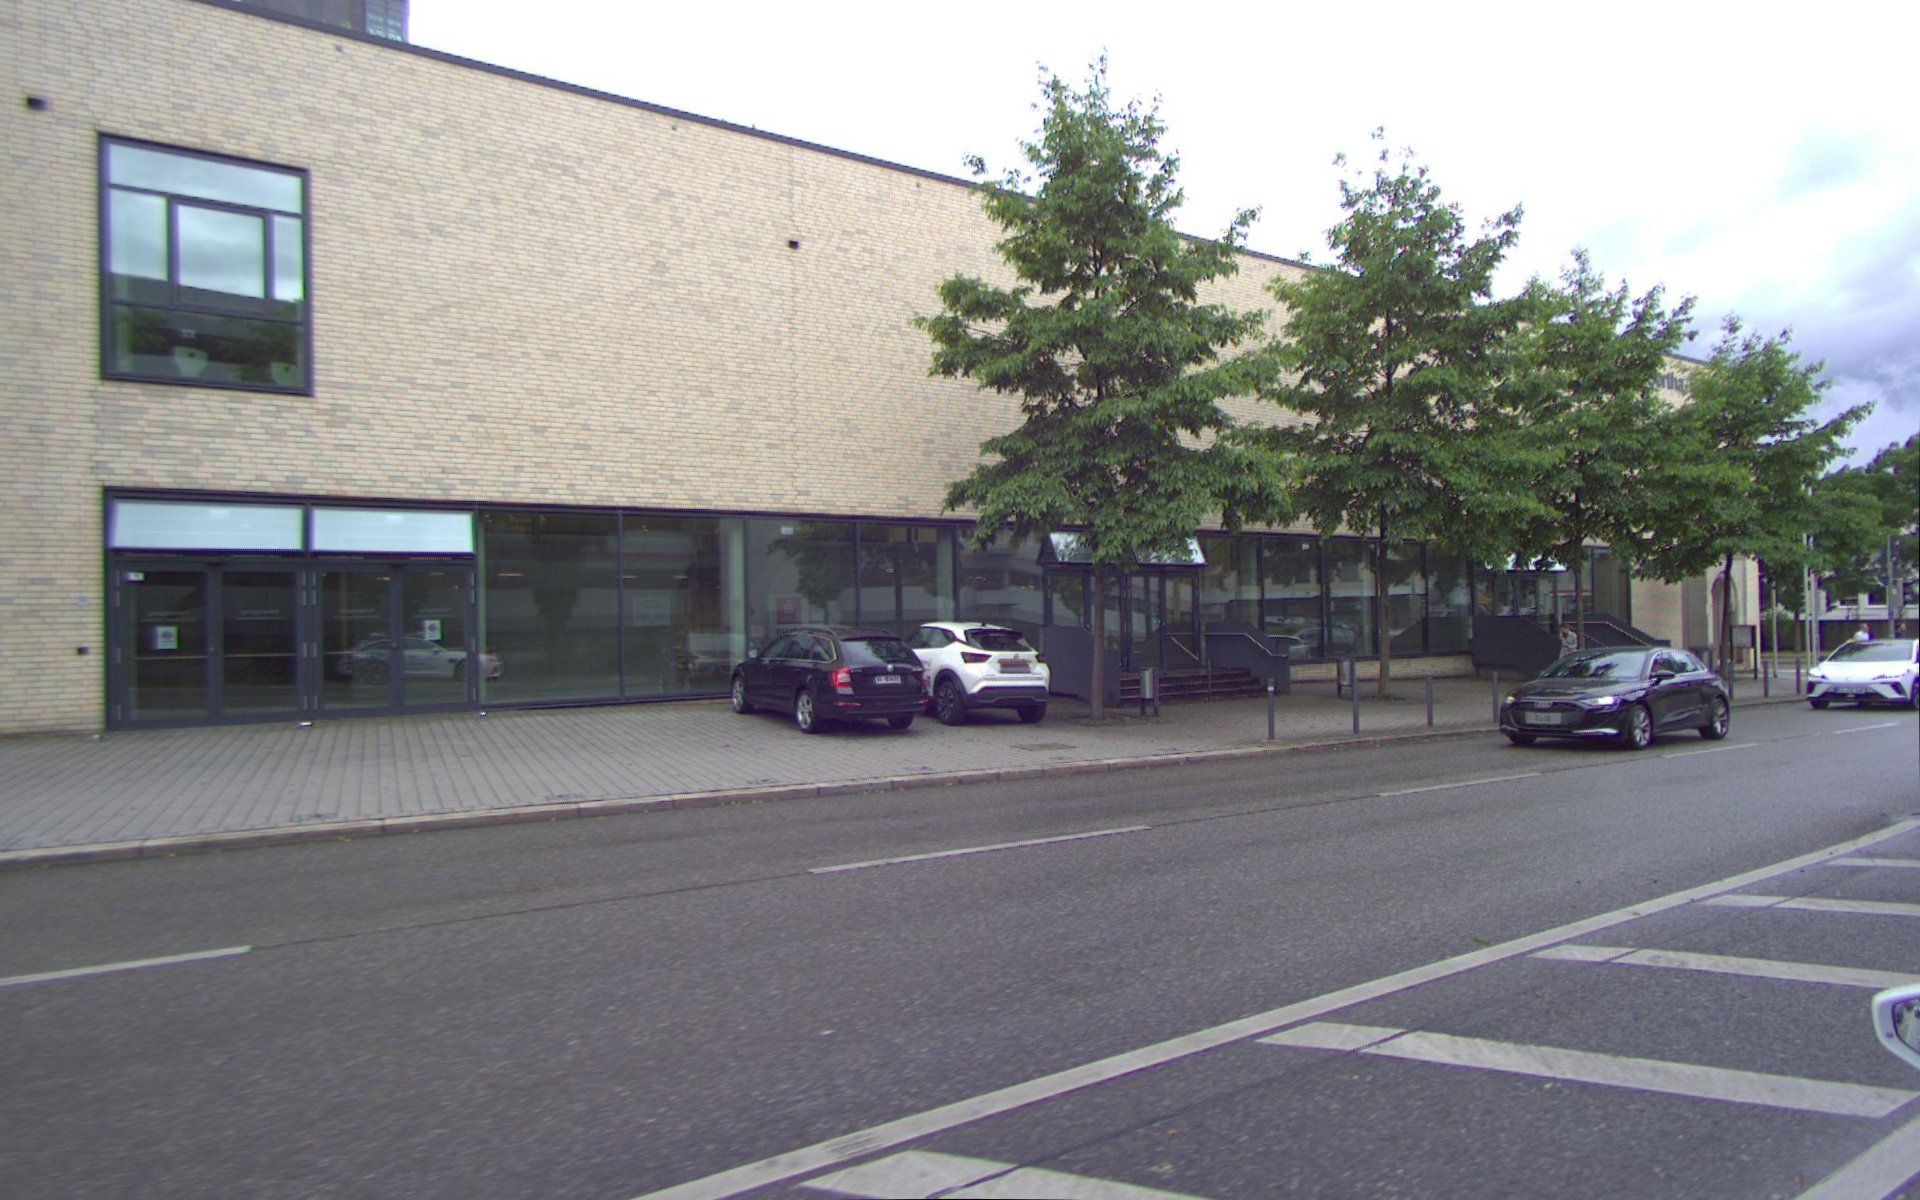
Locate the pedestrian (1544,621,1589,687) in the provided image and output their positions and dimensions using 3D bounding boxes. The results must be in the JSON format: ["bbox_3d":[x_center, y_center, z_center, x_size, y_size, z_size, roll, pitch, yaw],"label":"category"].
[{"bbox_3d":[16.061,1.423,26.609,1.009,1.688,0.638,2,0,-36],"label":"pedestrian"}]

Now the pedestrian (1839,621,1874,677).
[{"bbox_3d":[27.380,1.490,30.691,0.684,1.678,0.608,0,-2,-33],"label":"pedestrian"}]

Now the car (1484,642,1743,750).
[{"bbox_3d":[9.907,1.368,15.144,4.155,1.412,1.723,2,-4,-33],"label":"car"}]

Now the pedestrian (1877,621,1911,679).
[{"bbox_3d":[29.105,1.555,31.294,0.712,1.781,0.681,1,-1,-41],"label":"pedestrian"}]

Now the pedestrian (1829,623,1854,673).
[{"bbox_3d":[28.115,1.525,32.034,0.540,1.554,0.436,0,-2,-33],"label":"pedestrian"}]

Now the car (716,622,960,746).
[{"bbox_3d":[-2.022,1.179,15.613,1.981,1.514,4.146,2,0,-36],"label":"car"}]

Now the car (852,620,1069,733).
[{"bbox_3d":[-0.136,1.209,17.255,1.975,1.568,4.158,2,0,-28],"label":"car"}]

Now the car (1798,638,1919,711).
[{"bbox_3d":[20.574,1.613,22.400,4.186,1.488,1.723,1,-4,-33],"label":"car"}]
